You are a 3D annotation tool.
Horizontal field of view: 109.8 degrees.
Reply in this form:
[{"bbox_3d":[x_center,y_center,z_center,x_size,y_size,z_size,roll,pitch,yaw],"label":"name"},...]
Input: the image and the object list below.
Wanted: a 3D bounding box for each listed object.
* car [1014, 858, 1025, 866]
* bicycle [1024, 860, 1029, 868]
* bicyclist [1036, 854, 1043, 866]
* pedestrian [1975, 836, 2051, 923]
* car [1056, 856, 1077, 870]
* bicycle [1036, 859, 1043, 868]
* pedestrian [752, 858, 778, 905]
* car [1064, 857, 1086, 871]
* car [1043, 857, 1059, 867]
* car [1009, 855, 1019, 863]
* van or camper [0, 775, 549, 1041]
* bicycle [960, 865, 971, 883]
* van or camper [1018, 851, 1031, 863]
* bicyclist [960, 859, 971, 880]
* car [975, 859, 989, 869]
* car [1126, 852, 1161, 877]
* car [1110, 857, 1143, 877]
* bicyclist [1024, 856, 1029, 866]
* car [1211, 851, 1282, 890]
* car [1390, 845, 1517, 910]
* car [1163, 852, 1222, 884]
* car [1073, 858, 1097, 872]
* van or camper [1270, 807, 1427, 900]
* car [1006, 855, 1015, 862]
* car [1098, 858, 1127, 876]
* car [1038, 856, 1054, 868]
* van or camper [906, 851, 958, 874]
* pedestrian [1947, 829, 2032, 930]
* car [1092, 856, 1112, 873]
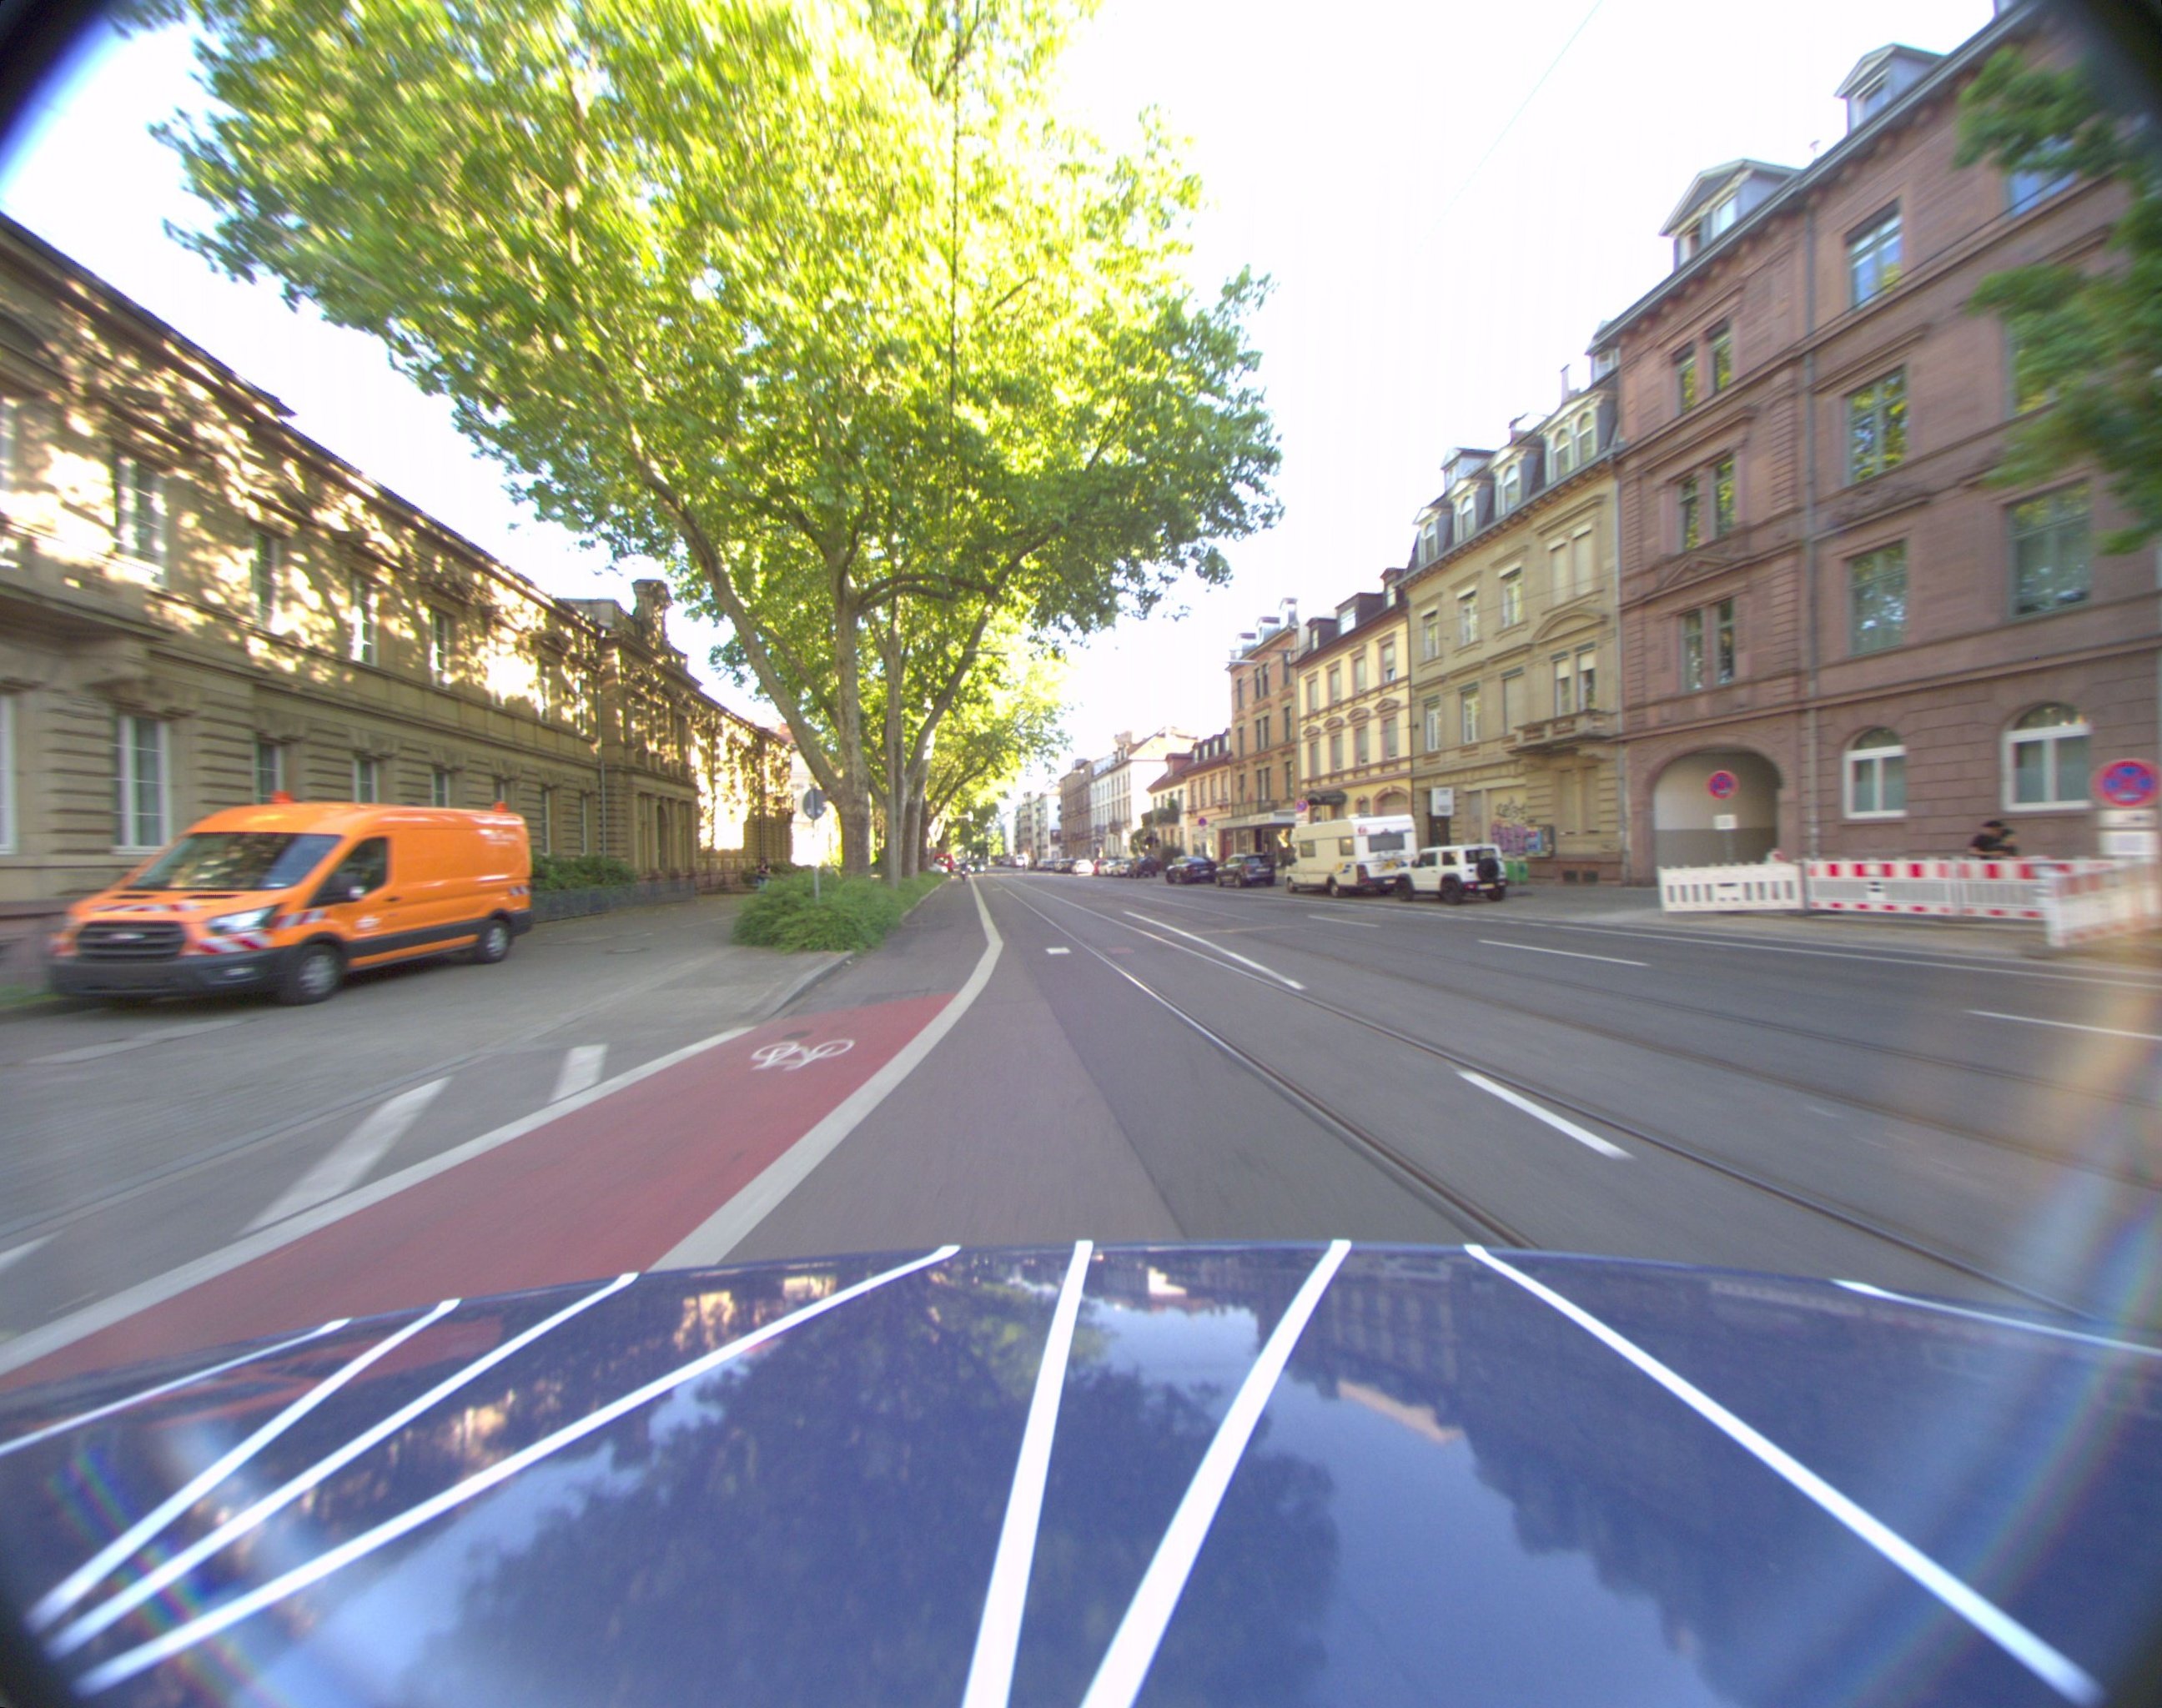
[{"bbox_3d":[-12.474,1.588,154.500,1.809,1.534,3.915,-3,0,-10],"label":"car"},{"bbox_3d":[-8.165,1.462,113.538,0.715,1.131,2.119,-1,0,-6],"label":"bicycle"},{"bbox_3d":[-5.493,0.823,100.367,0.715,1.508,0.953,-1,0,-9],"label":"bicyclist"},{"bbox_3d":[16.323,0.438,13.313,0.578,1.453,0.607,-3,1,-10],"label":"pedestrian"},{"bbox_3d":[-1.820,1.064,93.366,1.799,1.630,4.251,-3,0,-10],"label":"car"},{"bbox_3d":[-5.461,1.227,100.381,0.715,1.131,2.118,-1,0,-9],"label":"bicycle"},{"bbox_3d":[-12.137,1.039,29.191,0.653,1.726,1.006,-1,0,-9],"label":"pedestrian"},{"bbox_3d":[-0.719,1.142,88.154,1.799,1.587,4.080,-3,0,-10],"label":"car"},{"bbox_3d":[-4.296,1.155,108.248,1.799,1.368,4.080,-3,0,-10],"label":"car"},{"bbox_3d":[-15.306,1.157,173.615,1.809,1.534,3.915,-3,0,-10],"label":"car"},{"bbox_3d":[-9.978,0.520,10.283,2.042,2.544,5.769,-1,0,-7],"label":"van or camper"},{"bbox_3d":[-7.972,1.360,52.324,0.715,1.131,2.118,-1,0,-9],"label":"bicycle"},{"bbox_3d":[-11.114,0.543,148.653,1.946,2.267,4.594,-3,0,-10],"label":"van or camper"},{"bbox_3d":[-7.972,1.076,52.312,0.715,1.435,0.953,-1,0,-8],"label":"bicyclist"},{"bbox_3d":[-14.752,1.483,113.063,1.741,1.365,3.915,-3,0,-10],"label":"car"},{"bbox_3d":[4.713,0.789,58.037,1.730,1.736,3.622,-5,1,-9],"label":"car"},{"bbox_3d":[3.702,1.048,62.328,1.669,1.446,4.400,-4,0,-10],"label":"car"},{"bbox_3d":[-8.186,1.067,113.541,0.715,1.508,0.953,-1,0,-6],"label":"bicyclist"},{"bbox_3d":[8.271,0.798,38.336,1.816,1.695,4.439,-5,1,-10],"label":"car"},{"bbox_3d":[11.130,0.668,22.946,1.636,1.696,3.367,-4,1,-12],"label":"car"},{"bbox_3d":[6.640,0.828,45.988,2.000,1.693,4.746,-5,1,-10],"label":"car"},{"bbox_3d":[0.402,1.155,82.475,1.870,1.423,4.080,-3,0,-10],"label":"car"},{"bbox_3d":[9.869,-0.030,29.038,2.427,2.930,7.245,-5,1,-8],"label":"van or camper"},{"bbox_3d":[-17.118,1.072,184.284,1.810,1.534,3.915,-3,0,-12],"label":"car"},{"bbox_3d":[2.757,1.105,67.667,1.588,1.482,4.466,-3,0,-10],"label":"car"},{"bbox_3d":[-5.185,1.196,113.471,1.799,1.617,4.080,-3,0,-10],"label":"car"},{"bbox_3d":[-17.783,0.968,90.757,5.933,2.484,2.218,-1,3,-11],"label":"van or camper"},{"bbox_3d":[15.385,0.422,12.883,0.569,1.644,0.687,-3,1,-4],"label":"pedestrian"},{"bbox_3d":[1.995,1.015,73.019,1.423,1.502,3.323,-3,0,-7],"label":"car"}]
